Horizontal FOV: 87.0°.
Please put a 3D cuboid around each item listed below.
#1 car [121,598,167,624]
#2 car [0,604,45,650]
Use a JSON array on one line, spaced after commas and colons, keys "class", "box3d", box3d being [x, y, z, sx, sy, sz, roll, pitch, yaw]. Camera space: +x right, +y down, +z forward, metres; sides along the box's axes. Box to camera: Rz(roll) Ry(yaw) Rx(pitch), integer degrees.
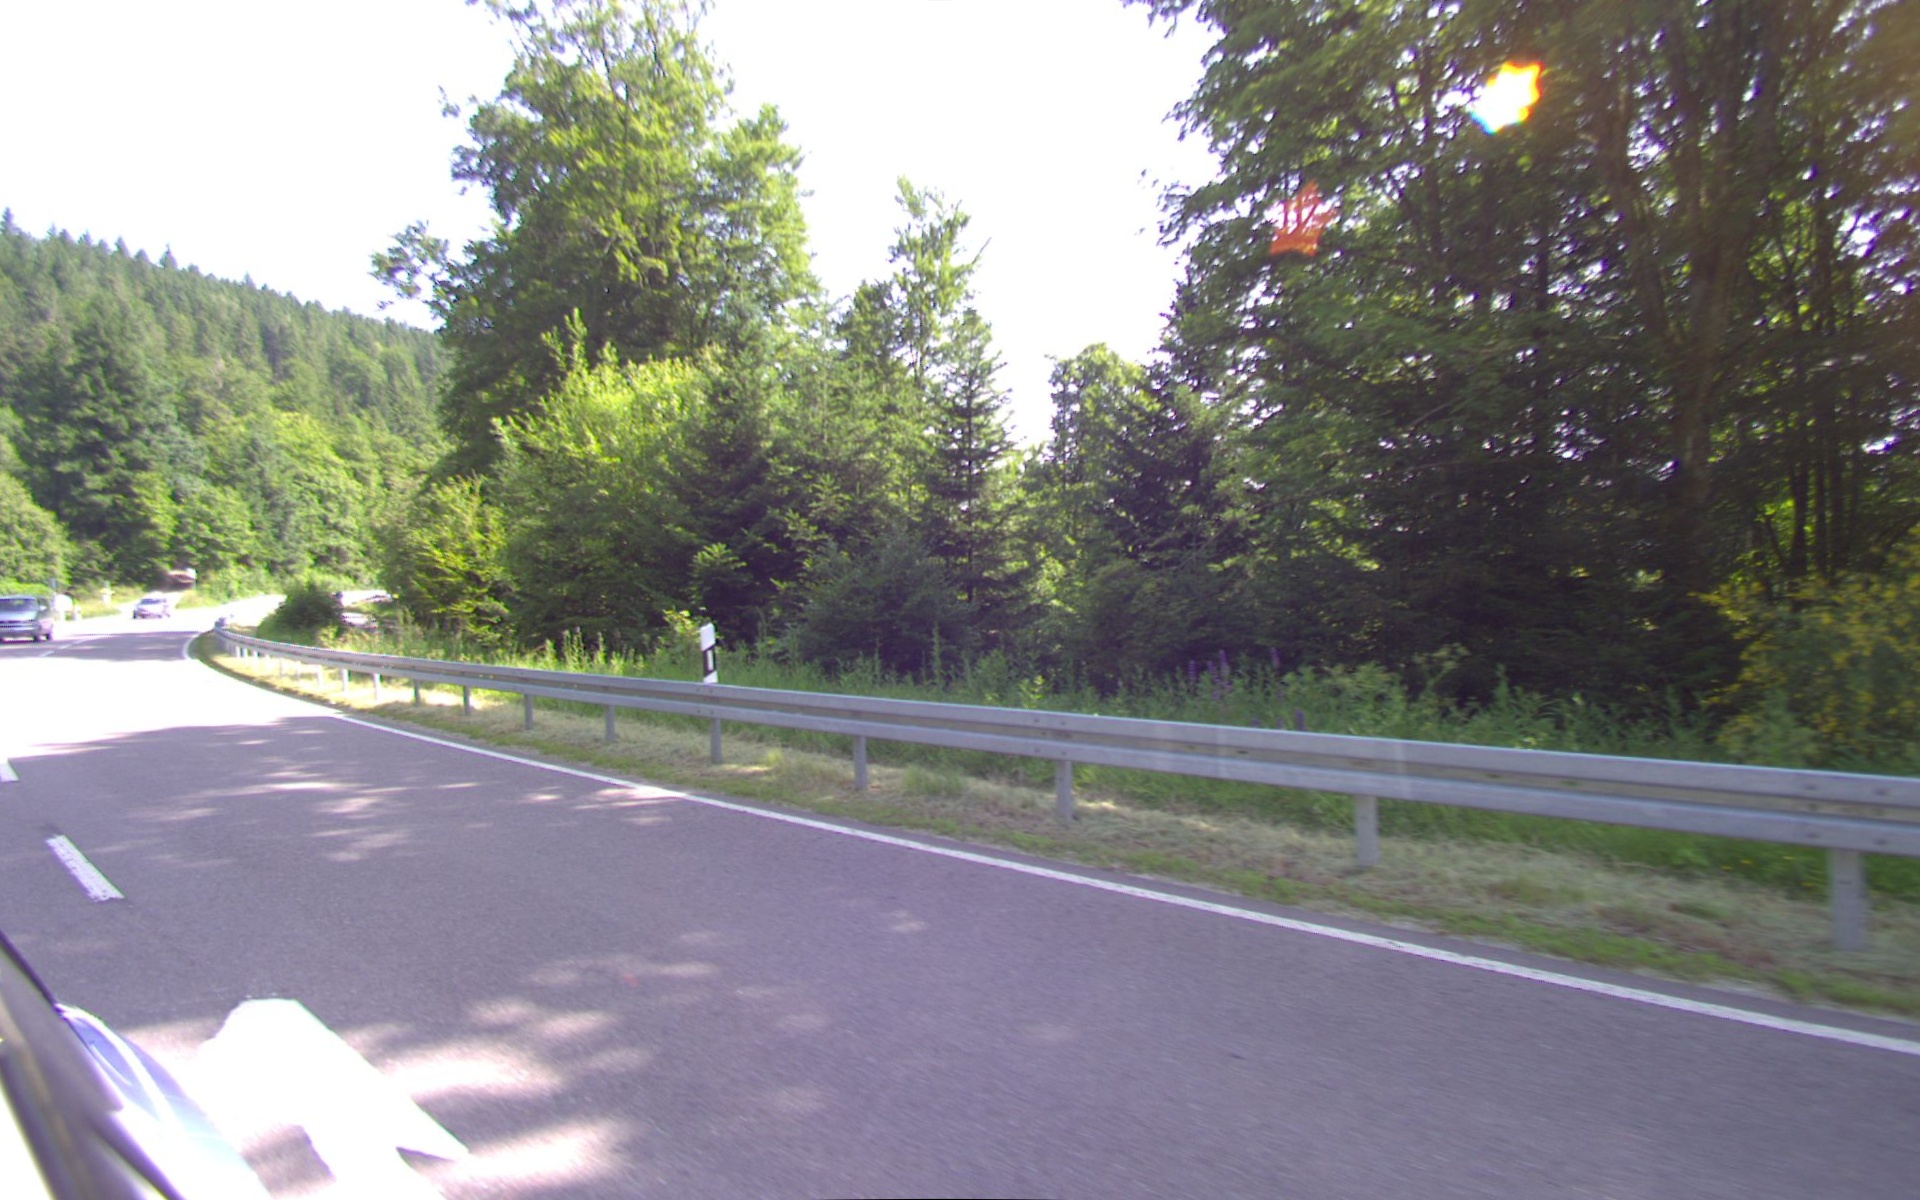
[{"class": "car", "box3d": [-56.952, 0.747, 70.694, 1.966, 1.655, 4.012, -2, 1, -32]}, {"class": "car", "box3d": [-38.328, 1.058, 40.933, 1.627, 1.773, 3.803, 0, 0, -37]}]
